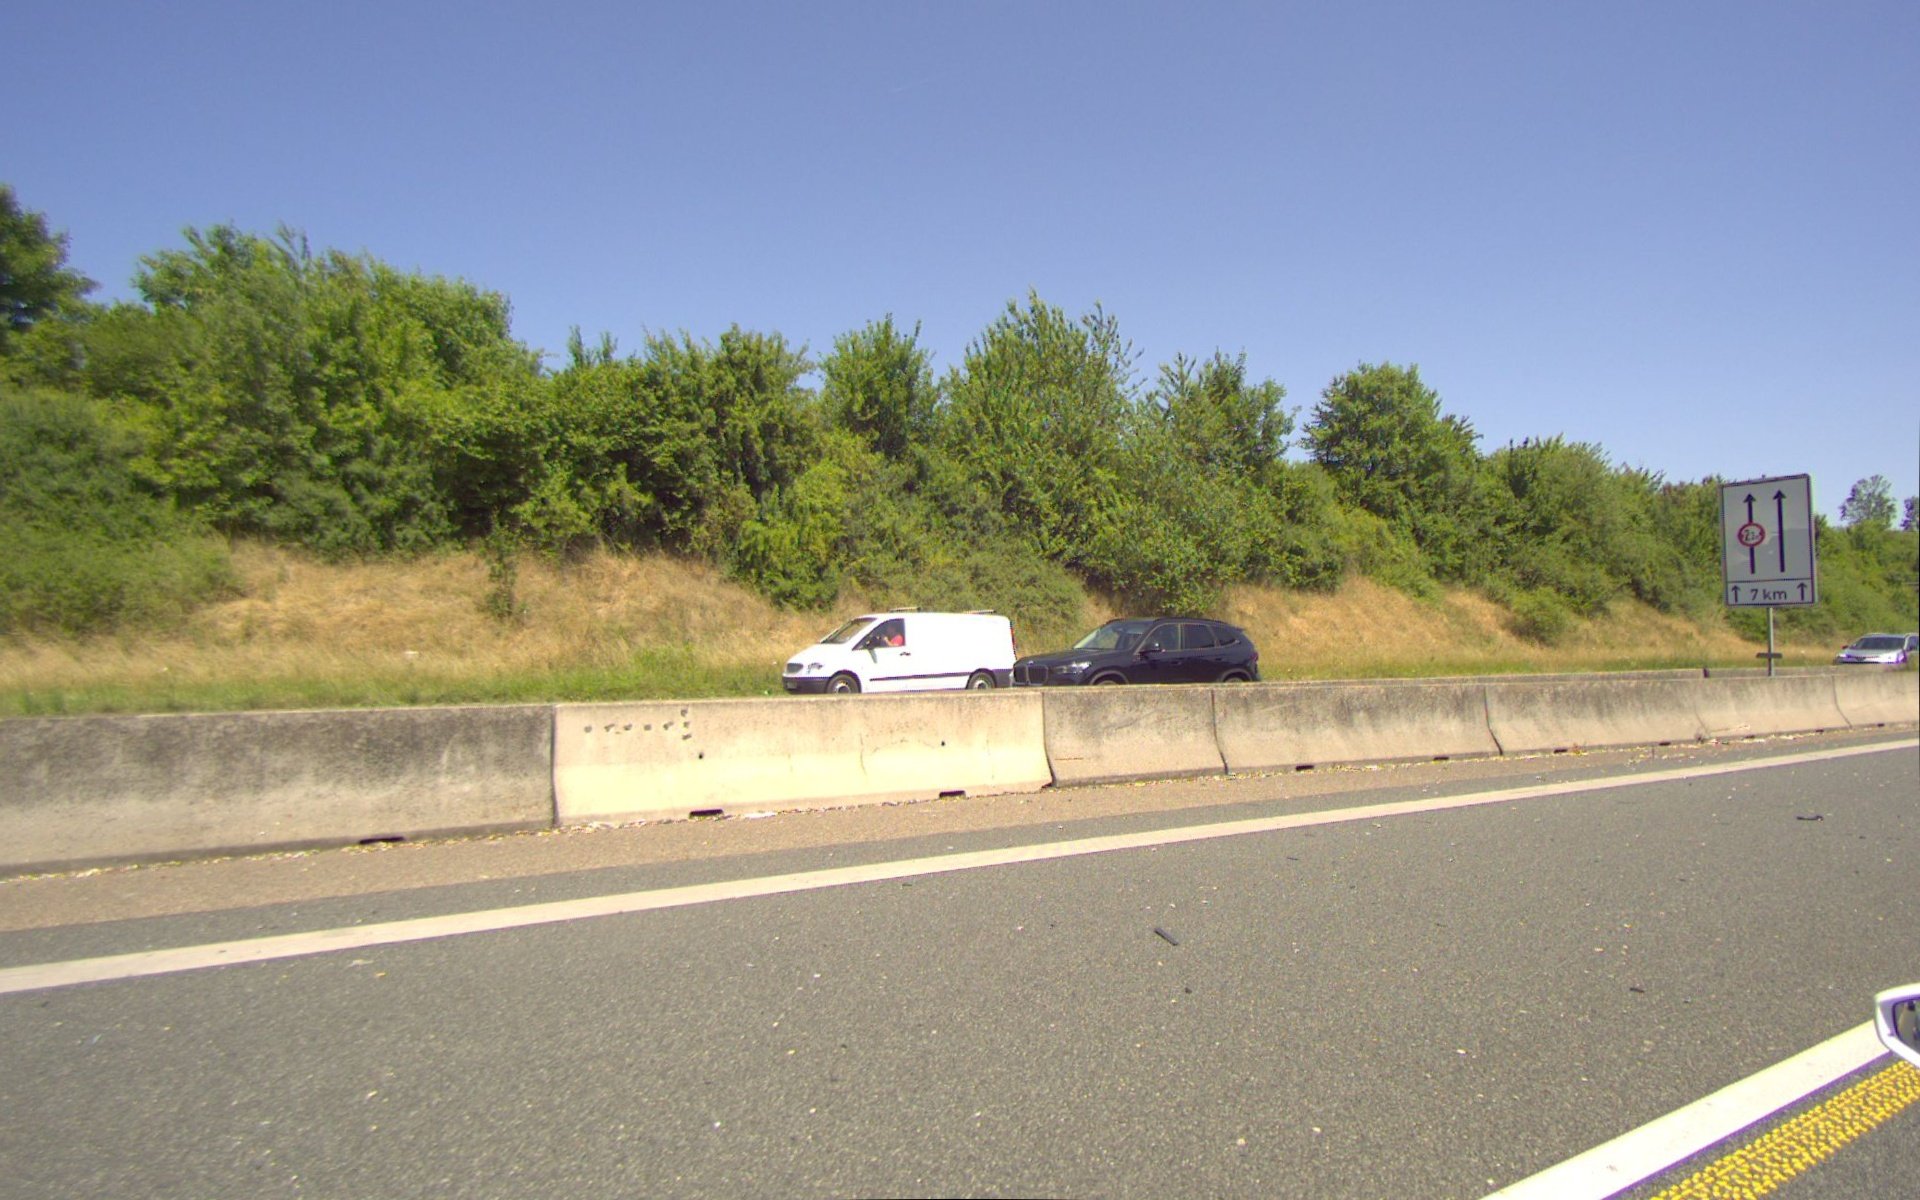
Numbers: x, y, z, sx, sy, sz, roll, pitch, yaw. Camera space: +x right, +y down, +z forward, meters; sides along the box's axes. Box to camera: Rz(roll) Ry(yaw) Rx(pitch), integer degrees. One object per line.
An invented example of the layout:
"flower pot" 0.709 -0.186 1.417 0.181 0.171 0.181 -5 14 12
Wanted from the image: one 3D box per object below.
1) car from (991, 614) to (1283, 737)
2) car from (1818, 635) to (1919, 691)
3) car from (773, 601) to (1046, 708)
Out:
"car" 2.870 1.135 15.995 4.445 1.716 1.864 2 -2 -30
"car" 31.908 2.148 34.791 4.568 1.806 1.984 2 -2 -31
"car" -0.983 1.111 21.272 5.531 2.040 1.921 1 -2 -31
